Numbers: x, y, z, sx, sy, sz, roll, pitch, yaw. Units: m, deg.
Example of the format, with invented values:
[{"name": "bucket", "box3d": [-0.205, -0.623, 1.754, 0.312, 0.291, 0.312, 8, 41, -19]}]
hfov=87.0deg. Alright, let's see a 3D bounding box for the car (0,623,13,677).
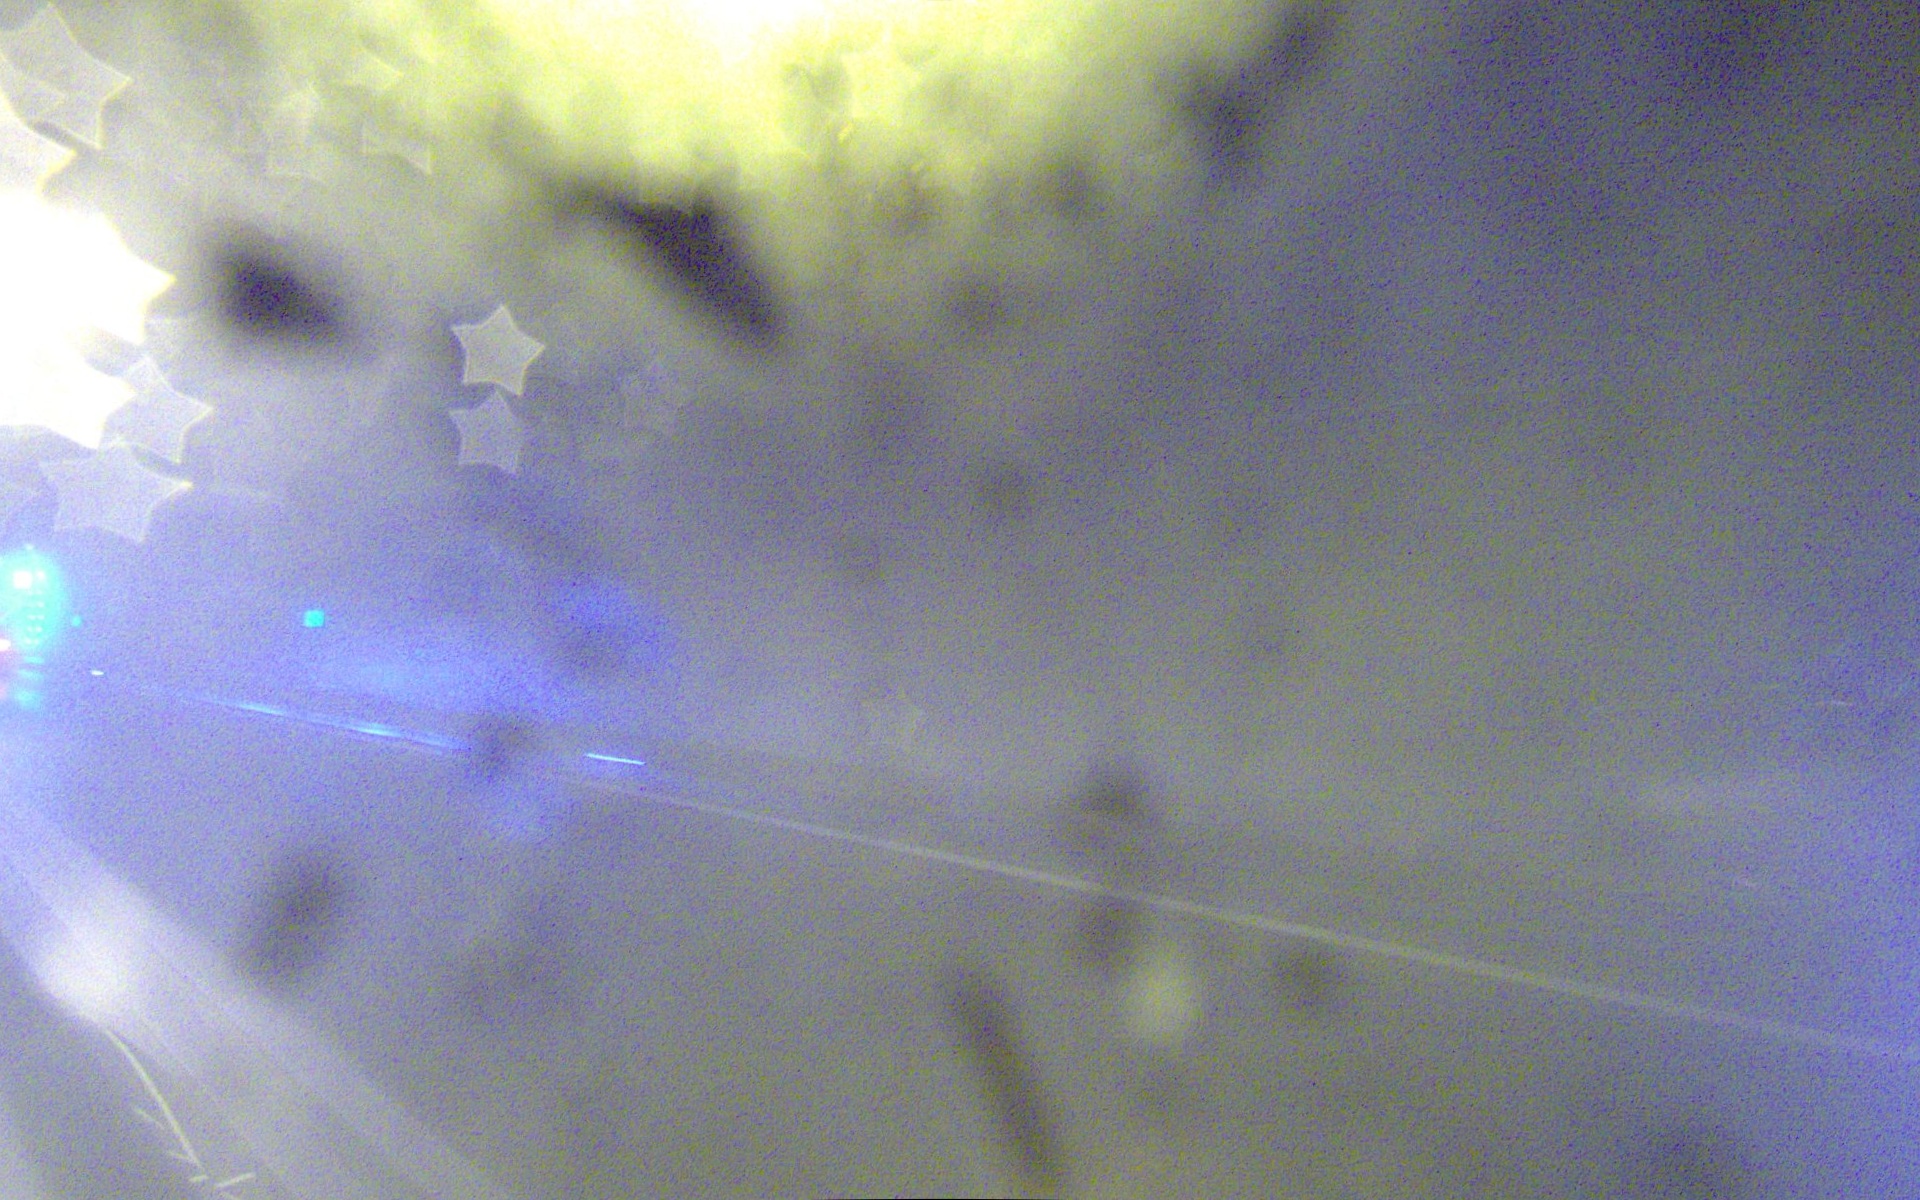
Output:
[{"name": "car", "box3d": [-27.958, 1.401, 28.399, 3.573, 1.473, 1.693, -2, -2, 41]}]
